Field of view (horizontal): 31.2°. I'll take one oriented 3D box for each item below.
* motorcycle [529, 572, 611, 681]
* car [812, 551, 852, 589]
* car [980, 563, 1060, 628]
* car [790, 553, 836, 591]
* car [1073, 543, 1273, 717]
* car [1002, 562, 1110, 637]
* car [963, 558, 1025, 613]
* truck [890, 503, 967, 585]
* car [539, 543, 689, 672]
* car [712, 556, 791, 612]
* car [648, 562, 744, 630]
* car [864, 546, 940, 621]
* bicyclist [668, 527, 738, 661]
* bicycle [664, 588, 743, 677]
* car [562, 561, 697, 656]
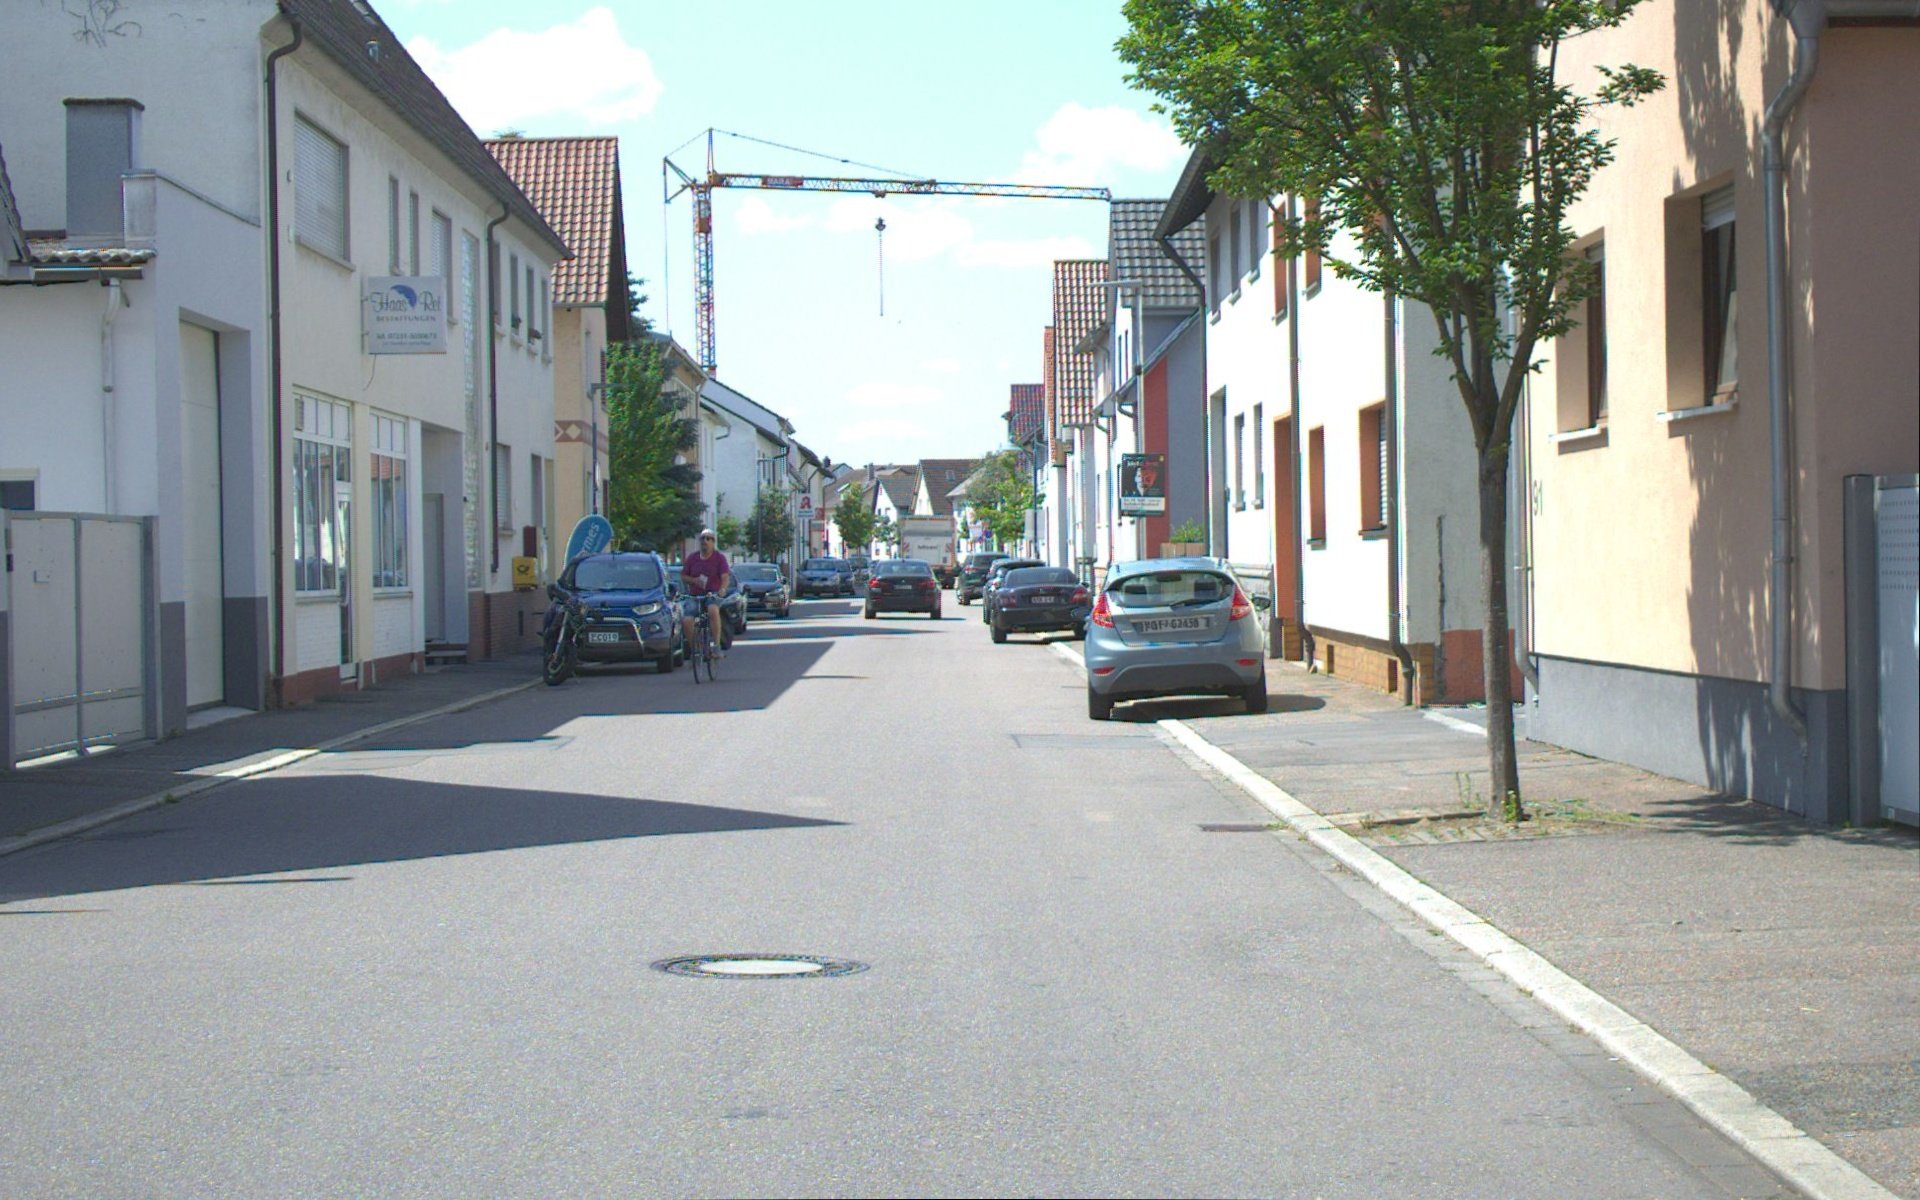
[{"bbox_3d":[-4.870,0.314,43.047,0.808,1.308,2.106,-1,1,-1],"label":"motorcycle"},{"bbox_3d":[-5.563,-1.335,149.696,1.653,1.603,4.061,-1,1,-1],"label":"car"},{"bbox_3d":[1.346,-0.120,78.278,1.688,1.417,3.657,-1,1,0],"label":"car"},{"bbox_3d":[-6.078,-1.184,142.435,1.758,1.519,4.289,-1,1,-1],"label":"car"},{"bbox_3d":[2.048,0.244,33.179,1.722,1.476,3.749,-4,1,3],"label":"car"},{"bbox_3d":[1.677,-0.034,61.473,1.815,1.271,4.147,-1,1,0],"label":"car"},{"bbox_3d":[1.071,-0.487,110.716,1.728,1.711,4.276,-1,1,-3],"label":"car"},{"bbox_3d":[-1.656,-2.736,172.032,3.378,3.852,13.927,-2,0,-2],"label":"truck"},{"bbox_3d":[-4.746,0.070,47.641,1.717,1.634,4.149,-2,1,-2],"label":"car"},{"bbox_3d":[-5.623,-0.454,93.059,1.768,1.455,4.436,-1,1,1],"label":"car"},{"bbox_3d":[-5.552,-0.108,72.618,1.761,1.369,4.067,0,1,-1],"label":"car"},{"bbox_3d":[-1.442,-0.409,84.246,1.782,1.747,4.000,-2,0,-1],"label":"car"},{"bbox_3d":[-3.157,-0.080,42.263,0.747,1.631,0.956,0,1,3],"label":"bicyclist"},{"bbox_3d":[-3.150,0.389,42.360,0.743,1.044,1.940,0,1,3],"label":"bicycle"},{"bbox_3d":[-5.121,0.100,53.766,1.697,1.407,4.390,0,1,0],"label":"car"}]
